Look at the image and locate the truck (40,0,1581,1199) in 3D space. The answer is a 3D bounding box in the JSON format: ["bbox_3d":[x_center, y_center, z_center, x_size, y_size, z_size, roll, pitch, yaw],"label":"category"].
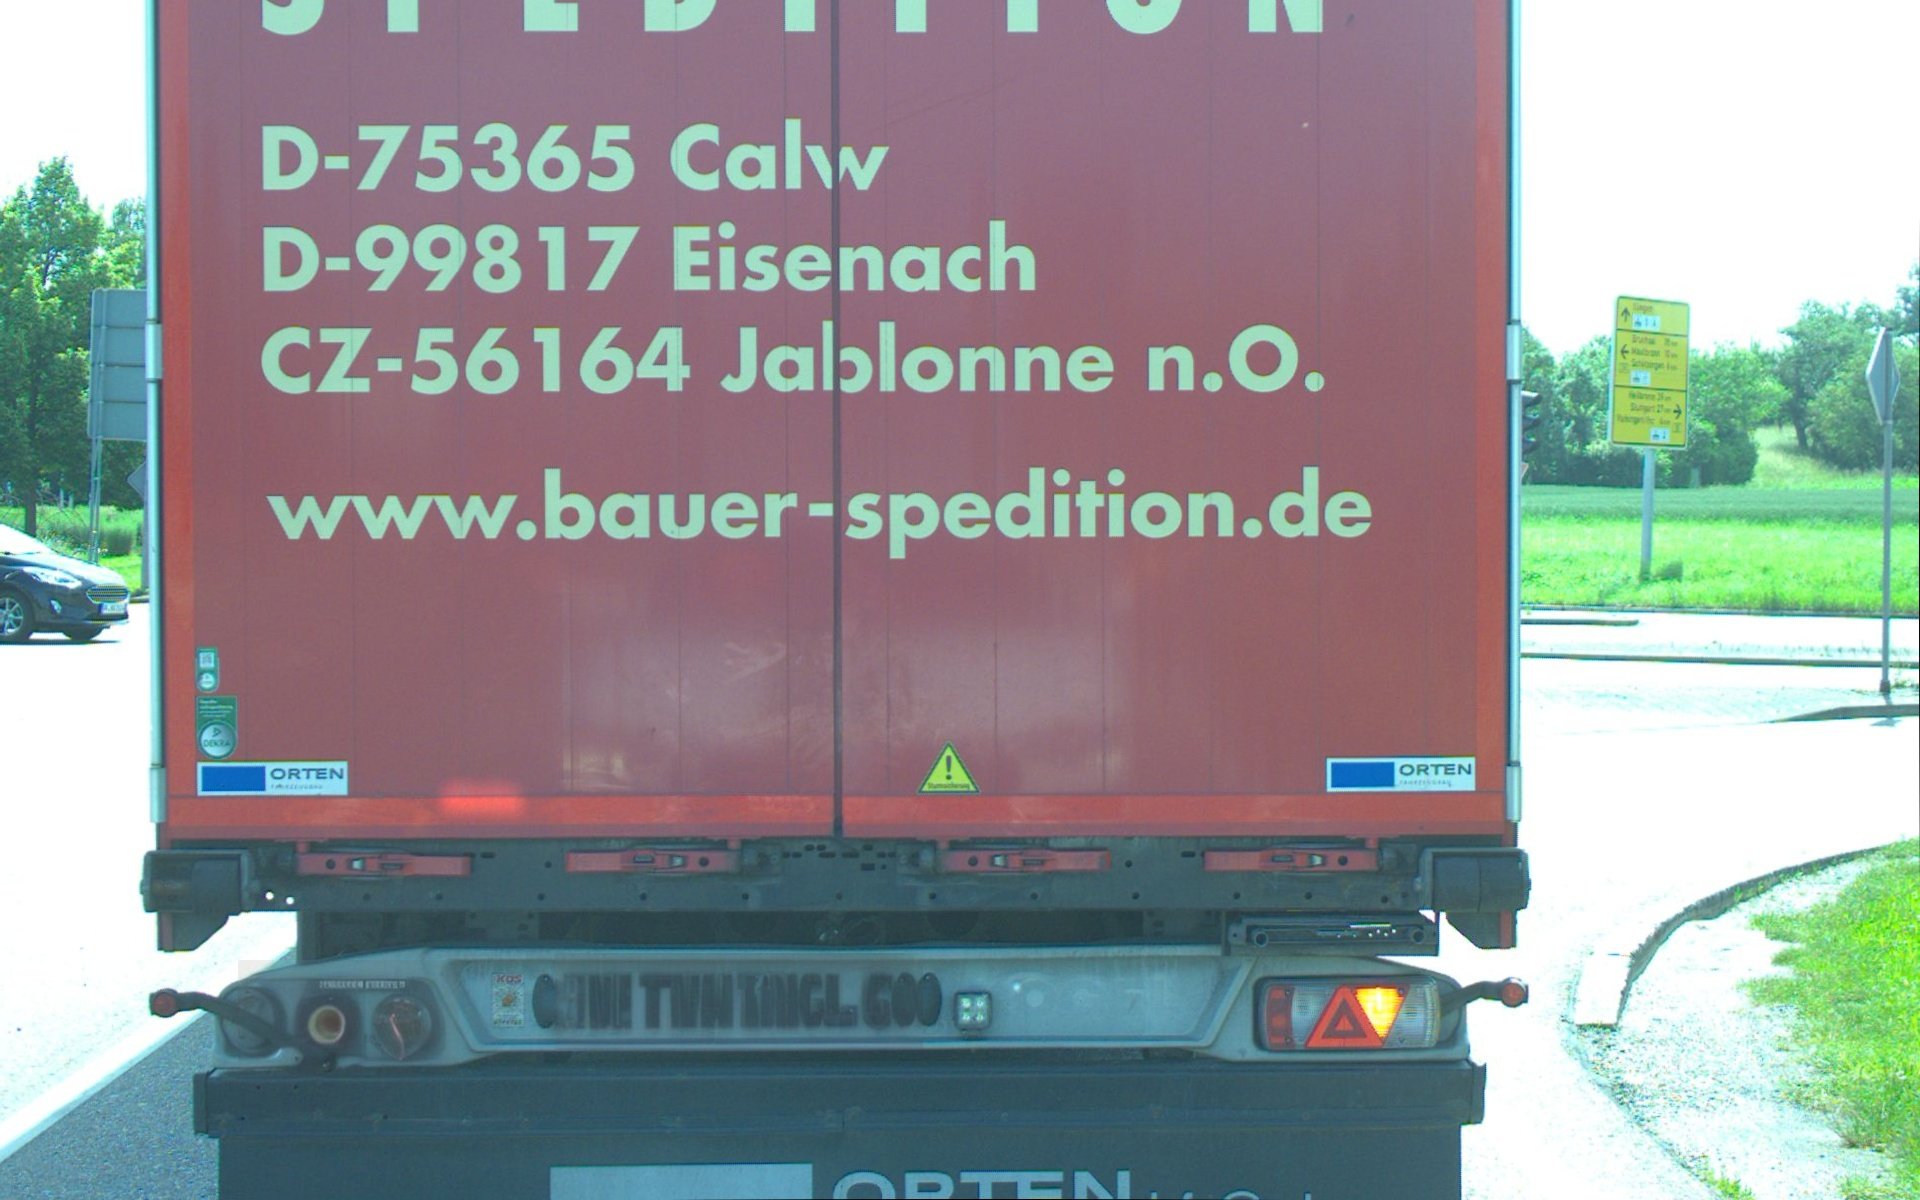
[{"bbox_3d":[-0.395,-0.795,14.437,2.734,3.911,16.627,0,1,-1],"label":"truck"}]

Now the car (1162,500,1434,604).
[{"bbox_3d":[5.300,-0.782,54.156,3.996,1.590,1.661,1,2,38],"label":"car"}]

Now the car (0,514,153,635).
[{"bbox_3d":[-11.442,-0.320,38.666,4.269,1.300,1.741,1,1,13],"label":"car"}]

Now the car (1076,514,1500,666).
[{"bbox_3d":[3.367,-0.132,35.121,4.038,1.412,1.794,1,2,16],"label":"car"}]
